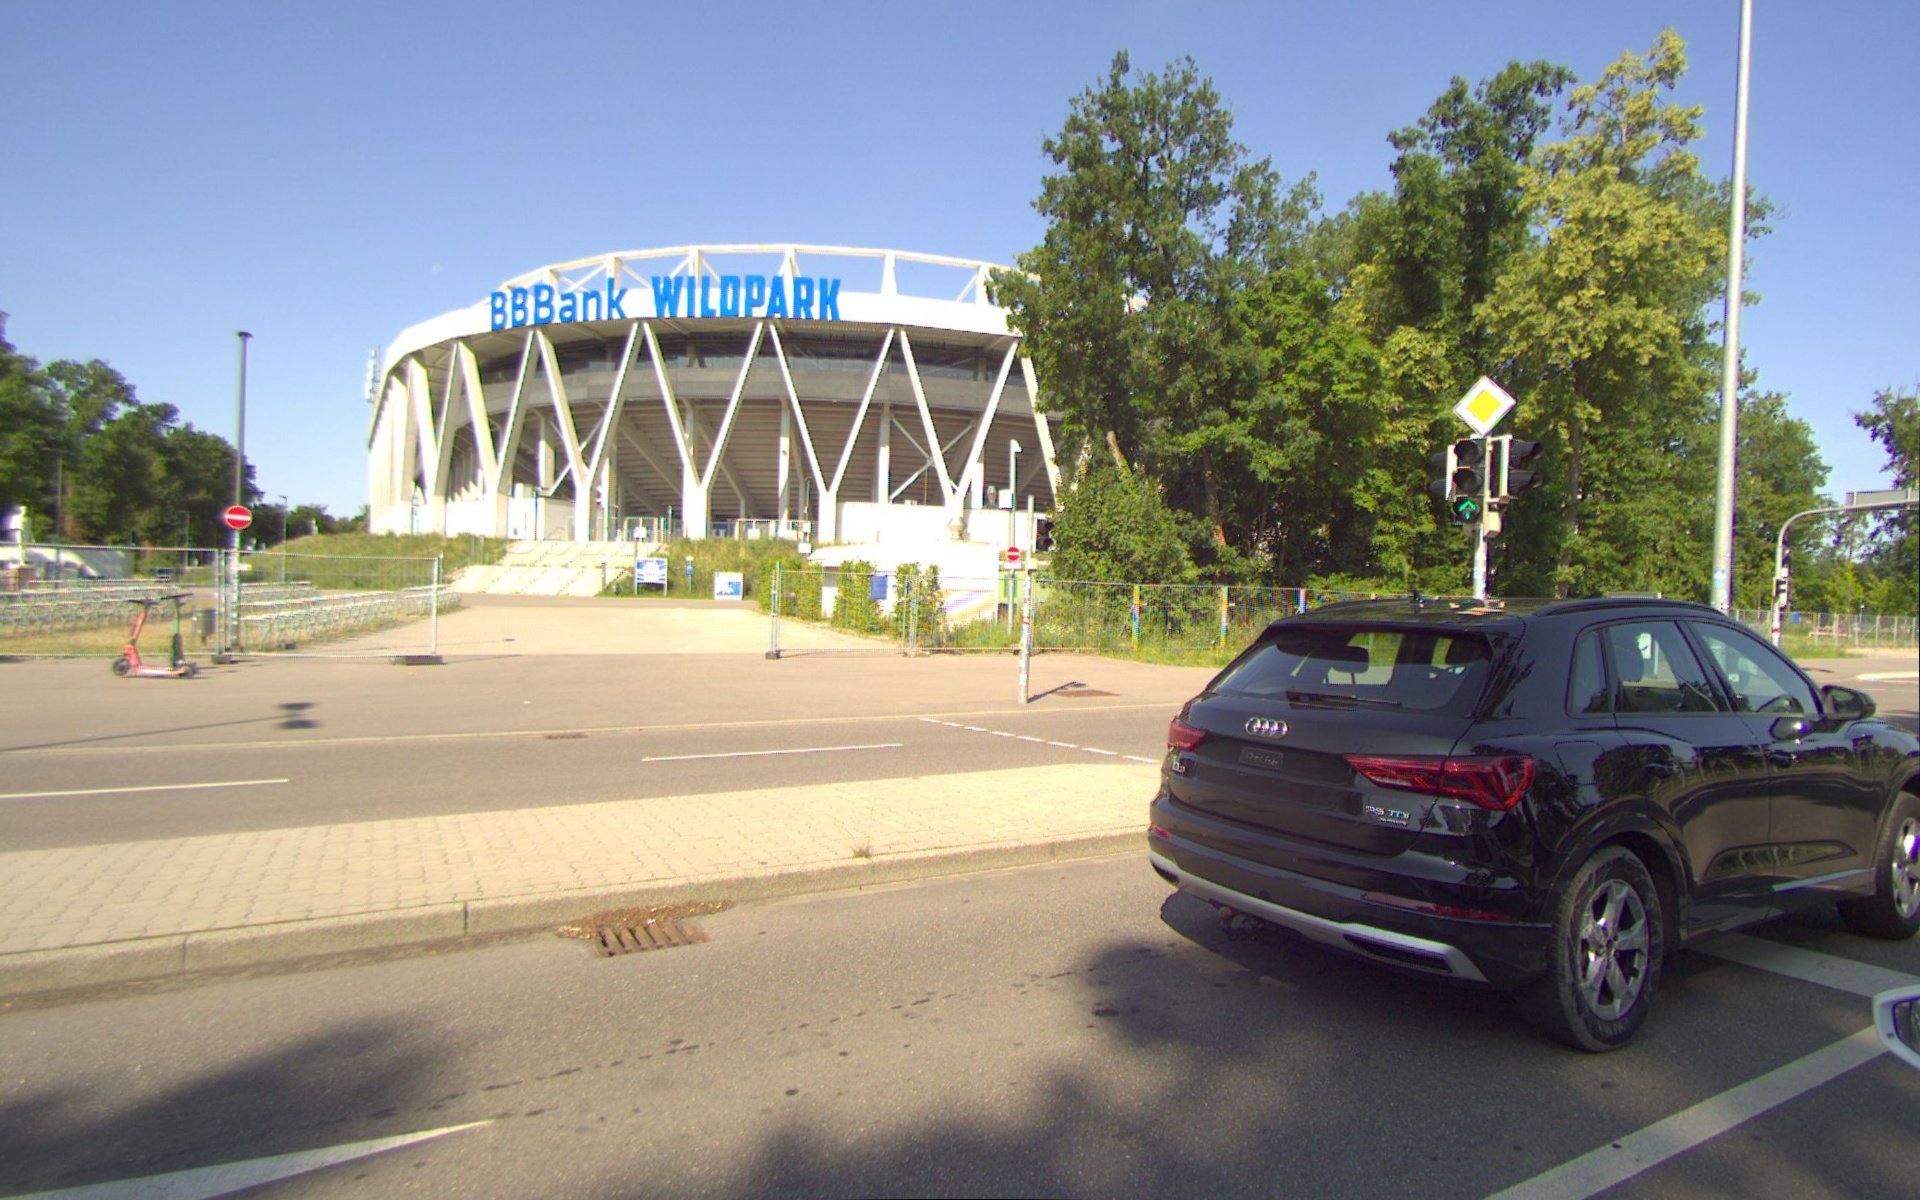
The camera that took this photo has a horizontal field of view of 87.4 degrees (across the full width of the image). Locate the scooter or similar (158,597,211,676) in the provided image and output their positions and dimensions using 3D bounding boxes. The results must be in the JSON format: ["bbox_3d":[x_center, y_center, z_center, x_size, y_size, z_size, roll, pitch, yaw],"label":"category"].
[{"bbox_3d":[-12.684,0.585,16.425,1.064,1.238,0.395,2,1,36],"label":"scooter or similar"}]

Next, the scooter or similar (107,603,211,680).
[{"bbox_3d":[-12.425,0.646,15.611,1.180,1.161,0.393,1,1,-25],"label":"scooter or similar"}]

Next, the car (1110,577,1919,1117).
[{"bbox_3d":[2.844,0.762,4.687,4.100,1.565,1.680,1,-1,-30],"label":"car"}]
